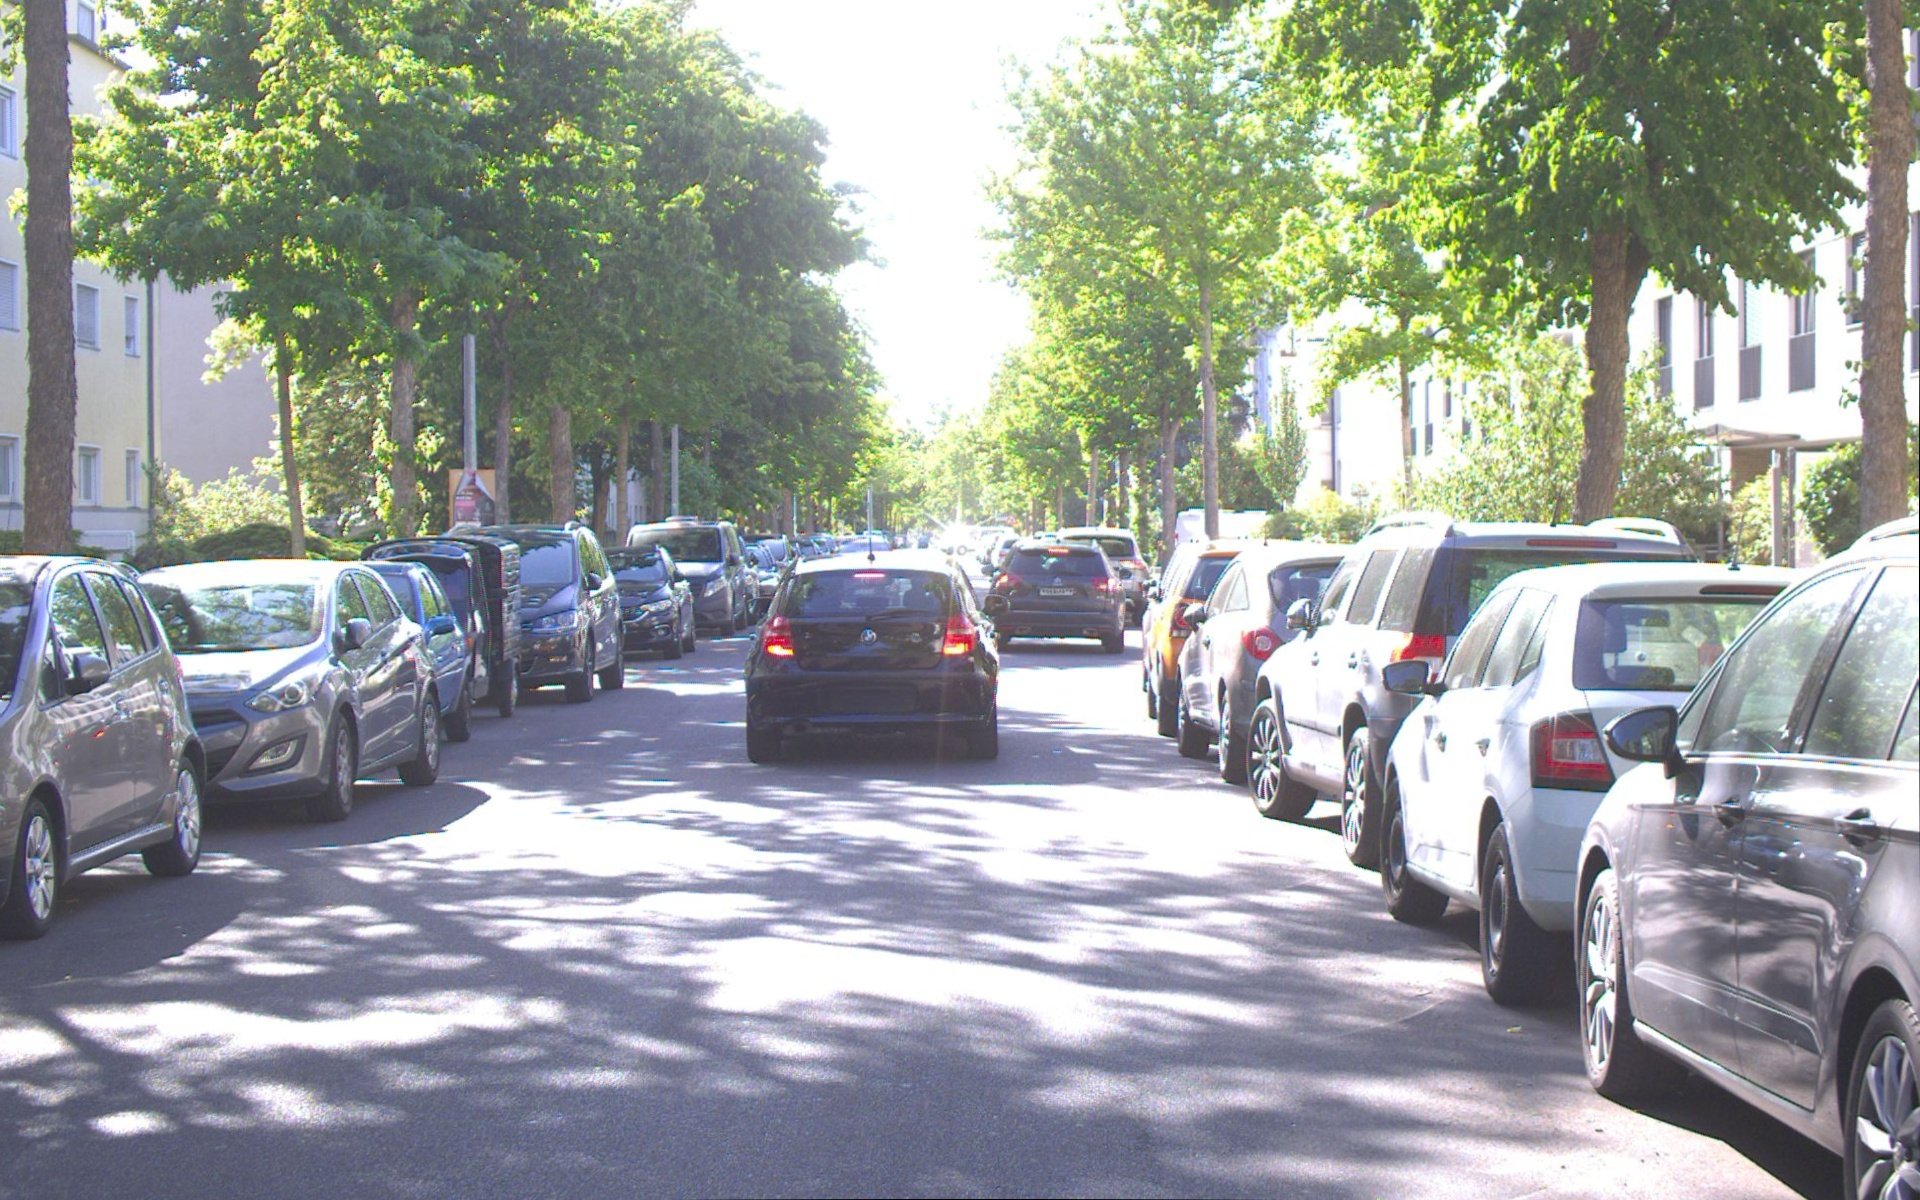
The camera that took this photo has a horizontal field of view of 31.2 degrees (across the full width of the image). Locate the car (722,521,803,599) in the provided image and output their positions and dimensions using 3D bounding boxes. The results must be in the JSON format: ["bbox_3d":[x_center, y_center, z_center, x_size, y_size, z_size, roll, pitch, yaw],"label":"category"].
[{"bbox_3d":[-4.446,-0.920,77.903,1.612,1.673,4.234,-1,1,-1],"label":"car"}]

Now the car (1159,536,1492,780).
[{"bbox_3d":[2.307,0.316,22.488,1.649,1.423,3.613,-1,1,-2],"label":"car"}]

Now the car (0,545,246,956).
[{"bbox_3d":[-4.397,0.565,14.860,1.620,1.510,4.269,-3,1,1],"label":"car"}]

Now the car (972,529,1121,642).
[{"bbox_3d":[1.119,-0.225,46.379,1.649,1.420,4.002,-1,1,-4],"label":"car"}]

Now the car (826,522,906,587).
[{"bbox_3d":[-2.120,-1.045,78.310,1.505,1.421,3.177,-1,1,4],"label":"car"}]

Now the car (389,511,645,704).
[{"bbox_3d":[-4.285,0.014,33.970,1.849,1.675,4.977,-3,1,0],"label":"car"}]

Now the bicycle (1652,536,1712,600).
[{"bbox_3d":[12.192,-0.552,58.083,0.546,1.051,1.780,-1,1,-3],"label":"bicycle"}]

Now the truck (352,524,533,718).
[{"bbox_3d":[-4.386,0.148,29.341,1.084,1.572,2.432,-1,1,2],"label":"truck"}]

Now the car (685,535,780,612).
[{"bbox_3d":[-4.427,-0.549,67.372,1.612,1.422,4.058,-1,1,-1],"label":"car"}]

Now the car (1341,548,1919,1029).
[{"bbox_3d":[2.479,0.546,12.725,1.629,1.420,4.368,-1,1,0],"label":"car"}]

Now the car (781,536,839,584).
[{"bbox_3d":[-4.544,-1.234,104.588,1.612,1.387,3.866,-1,1,-1],"label":"car"}]

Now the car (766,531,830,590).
[{"bbox_3d":[-4.468,-1.110,95.131,1.612,1.538,3.866,-1,1,-1],"label":"car"}]

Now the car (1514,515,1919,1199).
[{"bbox_3d":[2.606,0.620,8.130,1.684,1.582,4.536,2,1,-2],"label":"car"}]

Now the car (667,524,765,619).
[{"bbox_3d":[-4.379,-0.539,62.062,1.612,1.606,4.230,-1,1,-2],"label":"car"}]

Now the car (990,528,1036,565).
[{"bbox_3d":[2.183,-2.198,140.823,1.721,1.475,3.851,-1,1,3],"label":"car"}]

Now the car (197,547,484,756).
[{"bbox_3d":[-4.482,0.319,25.318,1.520,1.390,3.727,-1,1,-2],"label":"car"}]

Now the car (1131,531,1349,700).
[{"bbox_3d":[2.554,0.095,32.113,1.700,1.444,4.082,-1,1,0],"label":"car"}]

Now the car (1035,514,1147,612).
[{"bbox_3d":[2.231,-0.639,59.492,1.848,1.625,4.410,1,1,1],"label":"car"}]

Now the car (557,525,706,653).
[{"bbox_3d":[-4.337,-0.183,45.927,1.507,1.543,4.779,-3,1,-1],"label":"car"}]

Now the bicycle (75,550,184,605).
[{"bbox_3d":[-15.625,-0.428,64.698,1.921,0.988,0.597,-1,1,-7],"label":"bicycle"}]

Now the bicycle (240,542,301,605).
[{"bbox_3d":[-11.267,-0.443,56.201,0.594,0.988,1.928,-1,1,0],"label":"bicycle"}]

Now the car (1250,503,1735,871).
[{"bbox_3d":[2.558,0.348,17.367,1.648,1.650,3.848,0,1,-3],"label":"car"}]

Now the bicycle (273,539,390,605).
[{"bbox_3d":[-11.894,-0.537,65.036,2.144,1.204,0.690,-1,1,-11],"label":"bicycle"}]

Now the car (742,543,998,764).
[{"bbox_3d":[-0.606,0.323,24.145,1.649,1.392,3.412,-1,1,-1],"label":"car"}]

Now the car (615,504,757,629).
[{"bbox_3d":[-4.440,-0.576,56.447,1.826,1.898,5.142,-2,1,1],"label":"car"}]

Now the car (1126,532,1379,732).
[{"bbox_3d":[2.271,0.198,27.550,1.636,1.450,4.100,-1,1,0],"label":"car"}]

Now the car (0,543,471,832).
[{"bbox_3d":[-4.225,0.428,20.473,1.792,1.439,4.688,-2,1,2],"label":"car"}]
